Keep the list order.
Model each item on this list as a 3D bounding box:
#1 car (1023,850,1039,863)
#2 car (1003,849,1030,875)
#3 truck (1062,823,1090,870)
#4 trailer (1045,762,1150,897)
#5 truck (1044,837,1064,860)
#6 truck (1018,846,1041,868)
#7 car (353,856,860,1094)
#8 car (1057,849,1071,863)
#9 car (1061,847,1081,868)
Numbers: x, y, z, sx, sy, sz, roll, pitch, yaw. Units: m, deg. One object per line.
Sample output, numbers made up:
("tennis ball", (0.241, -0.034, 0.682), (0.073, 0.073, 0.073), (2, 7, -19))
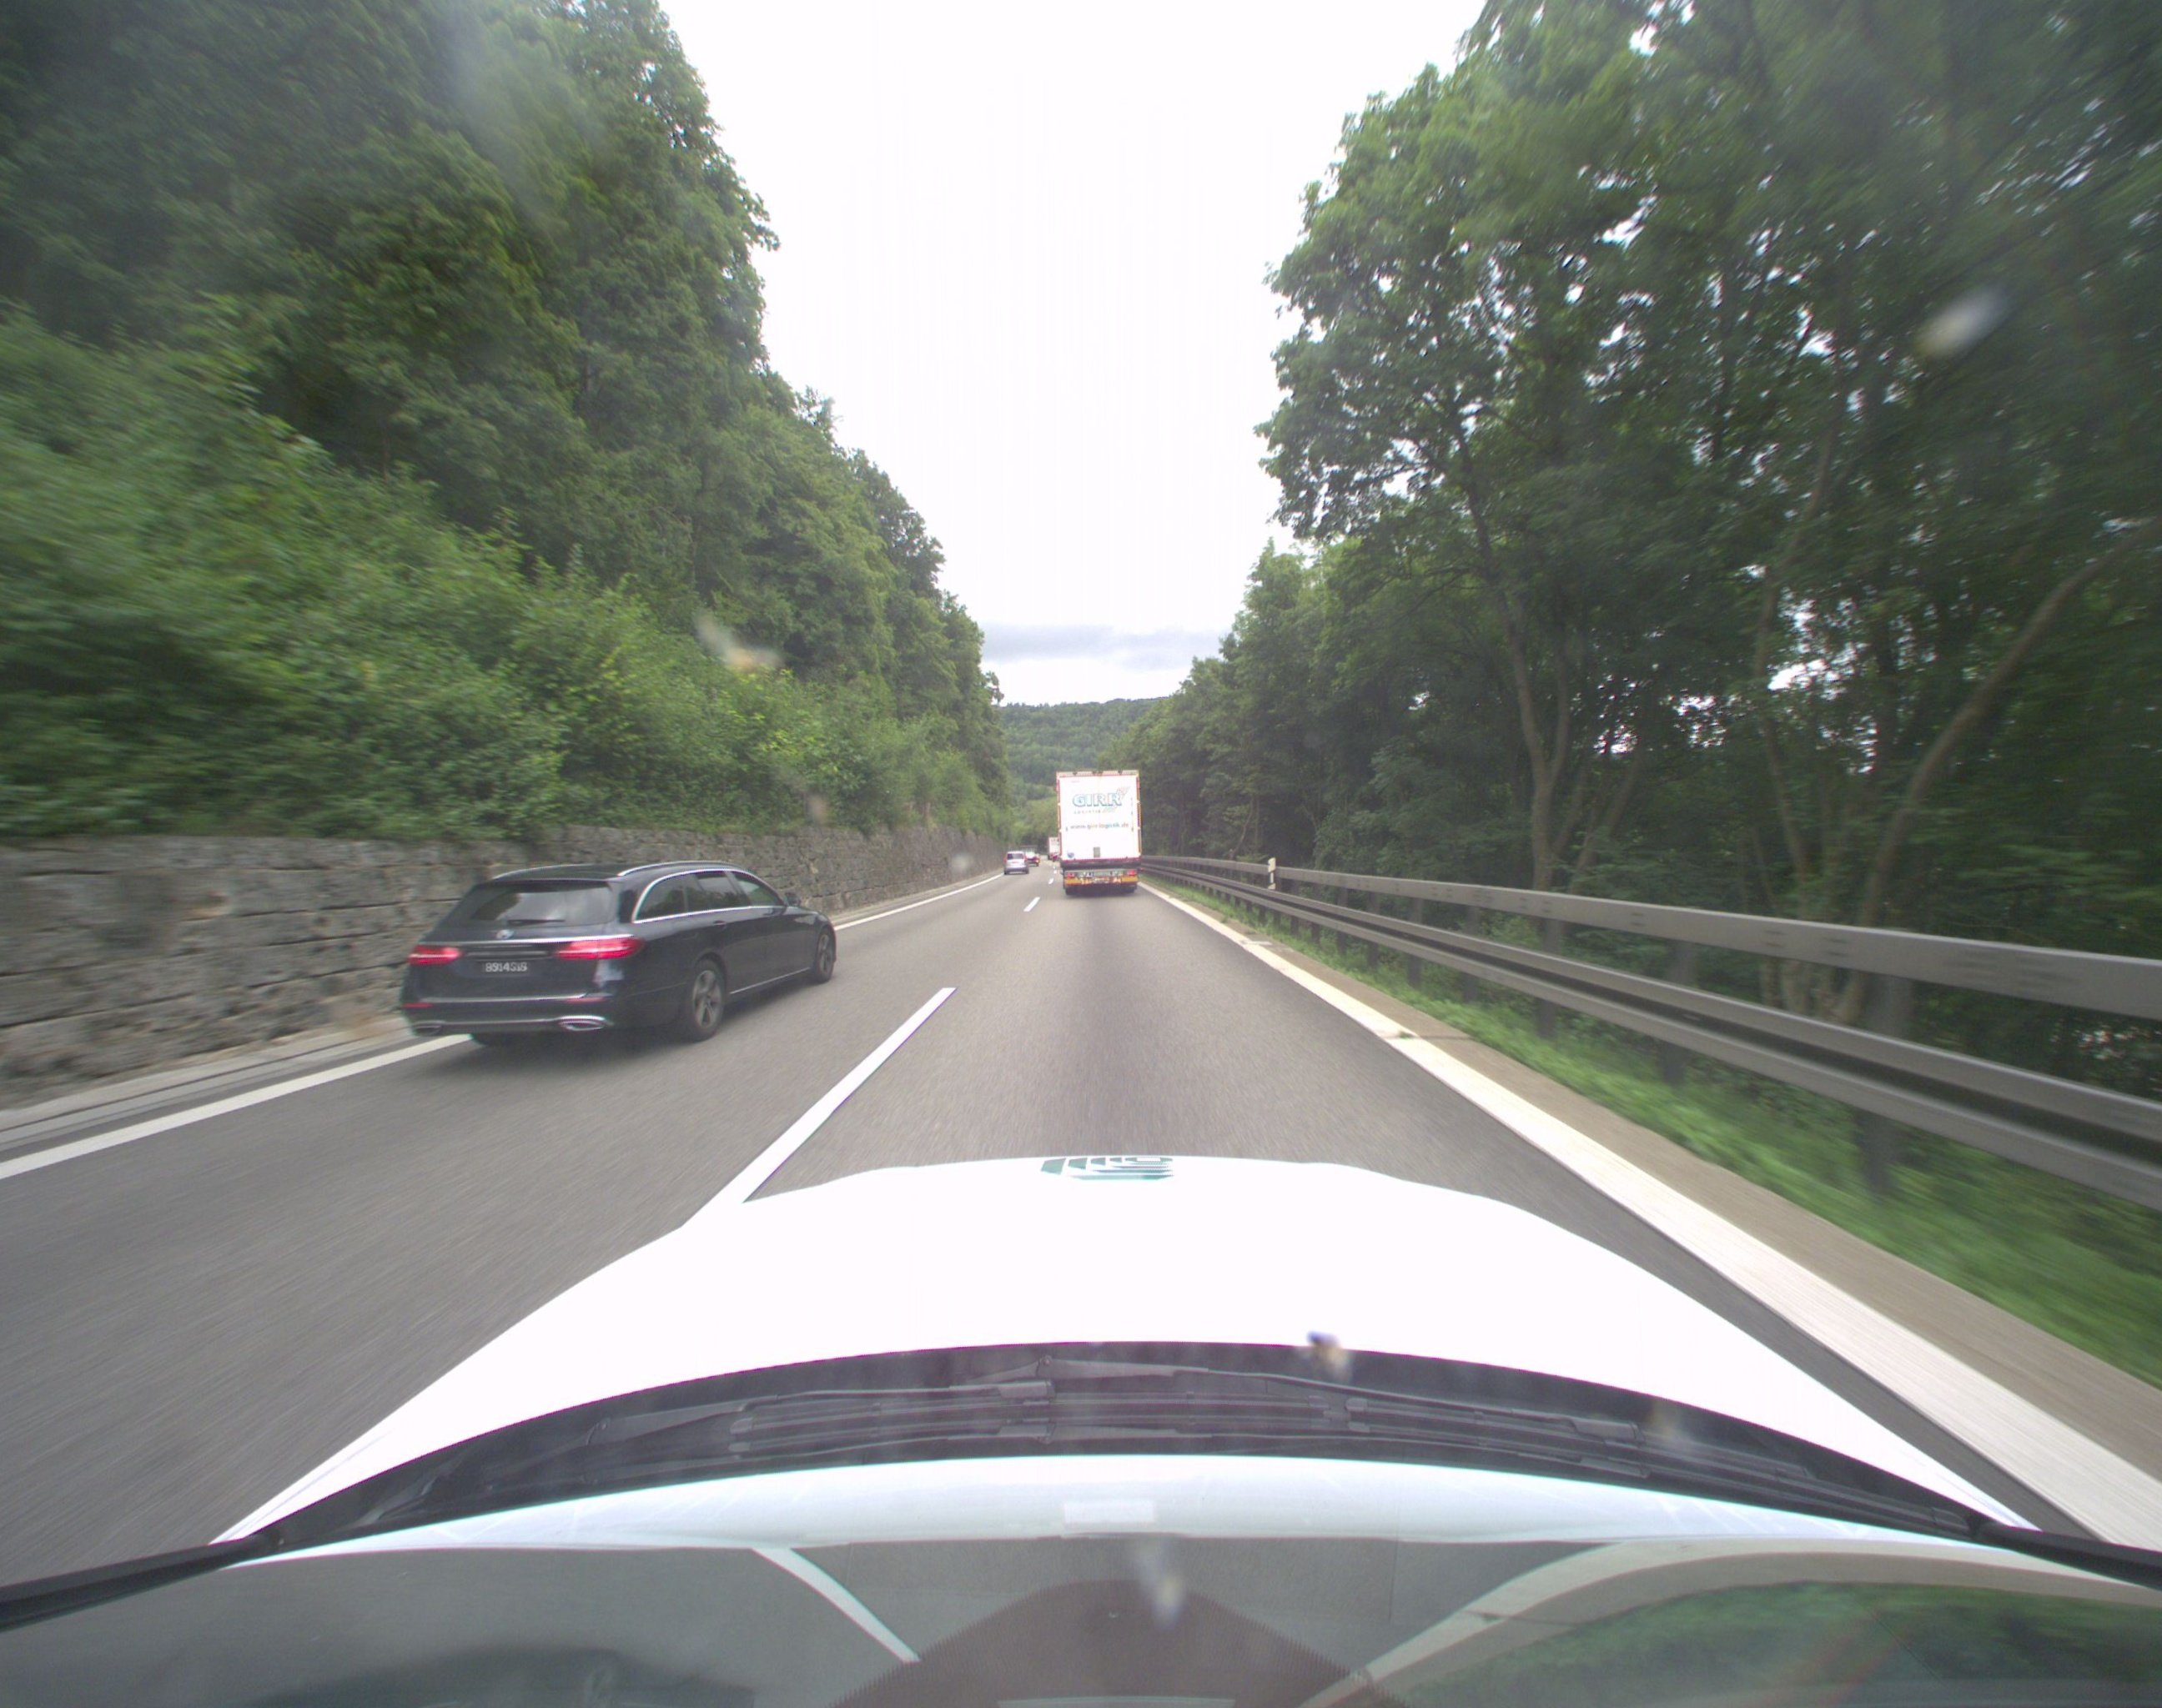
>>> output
("car", (-7.300, 0.334, 119.268), (2.013, 1.914, 5.559), (0, 0, -2))
("car", (-4.546, 0.571, 57.870), (1.629, 1.726, 4.342), (-1, 0, -1))
("truck", (-0.412, -0.593, 68.766), (2.226, 3.804, 6.821), (0, 0, 0))
("trailer", (0.515, -0.781, 29.657), (3.123, 4.042, 9.438), (1, 0, 0))
("truck", (-4.765, -0.831, 141.099), (3.064, 3.877, 8.442), (0, 0, -5))
("truck", (-5.506, 0.337, 87.476), (2.344, 2.274, 6.841), (0, 0, -3))
("car", (-3.822, 0.801, 7.916), (1.754, 1.463, 5.125), (-2, 0, 2))
("car", (-2.461, 0.314, 117.898), (1.988, 2.014, 3.997), (0, 0, -2))
("car", (-0.985, 0.361, 79.600), (1.988, 2.014, 4.331), (0, 0, -1))
